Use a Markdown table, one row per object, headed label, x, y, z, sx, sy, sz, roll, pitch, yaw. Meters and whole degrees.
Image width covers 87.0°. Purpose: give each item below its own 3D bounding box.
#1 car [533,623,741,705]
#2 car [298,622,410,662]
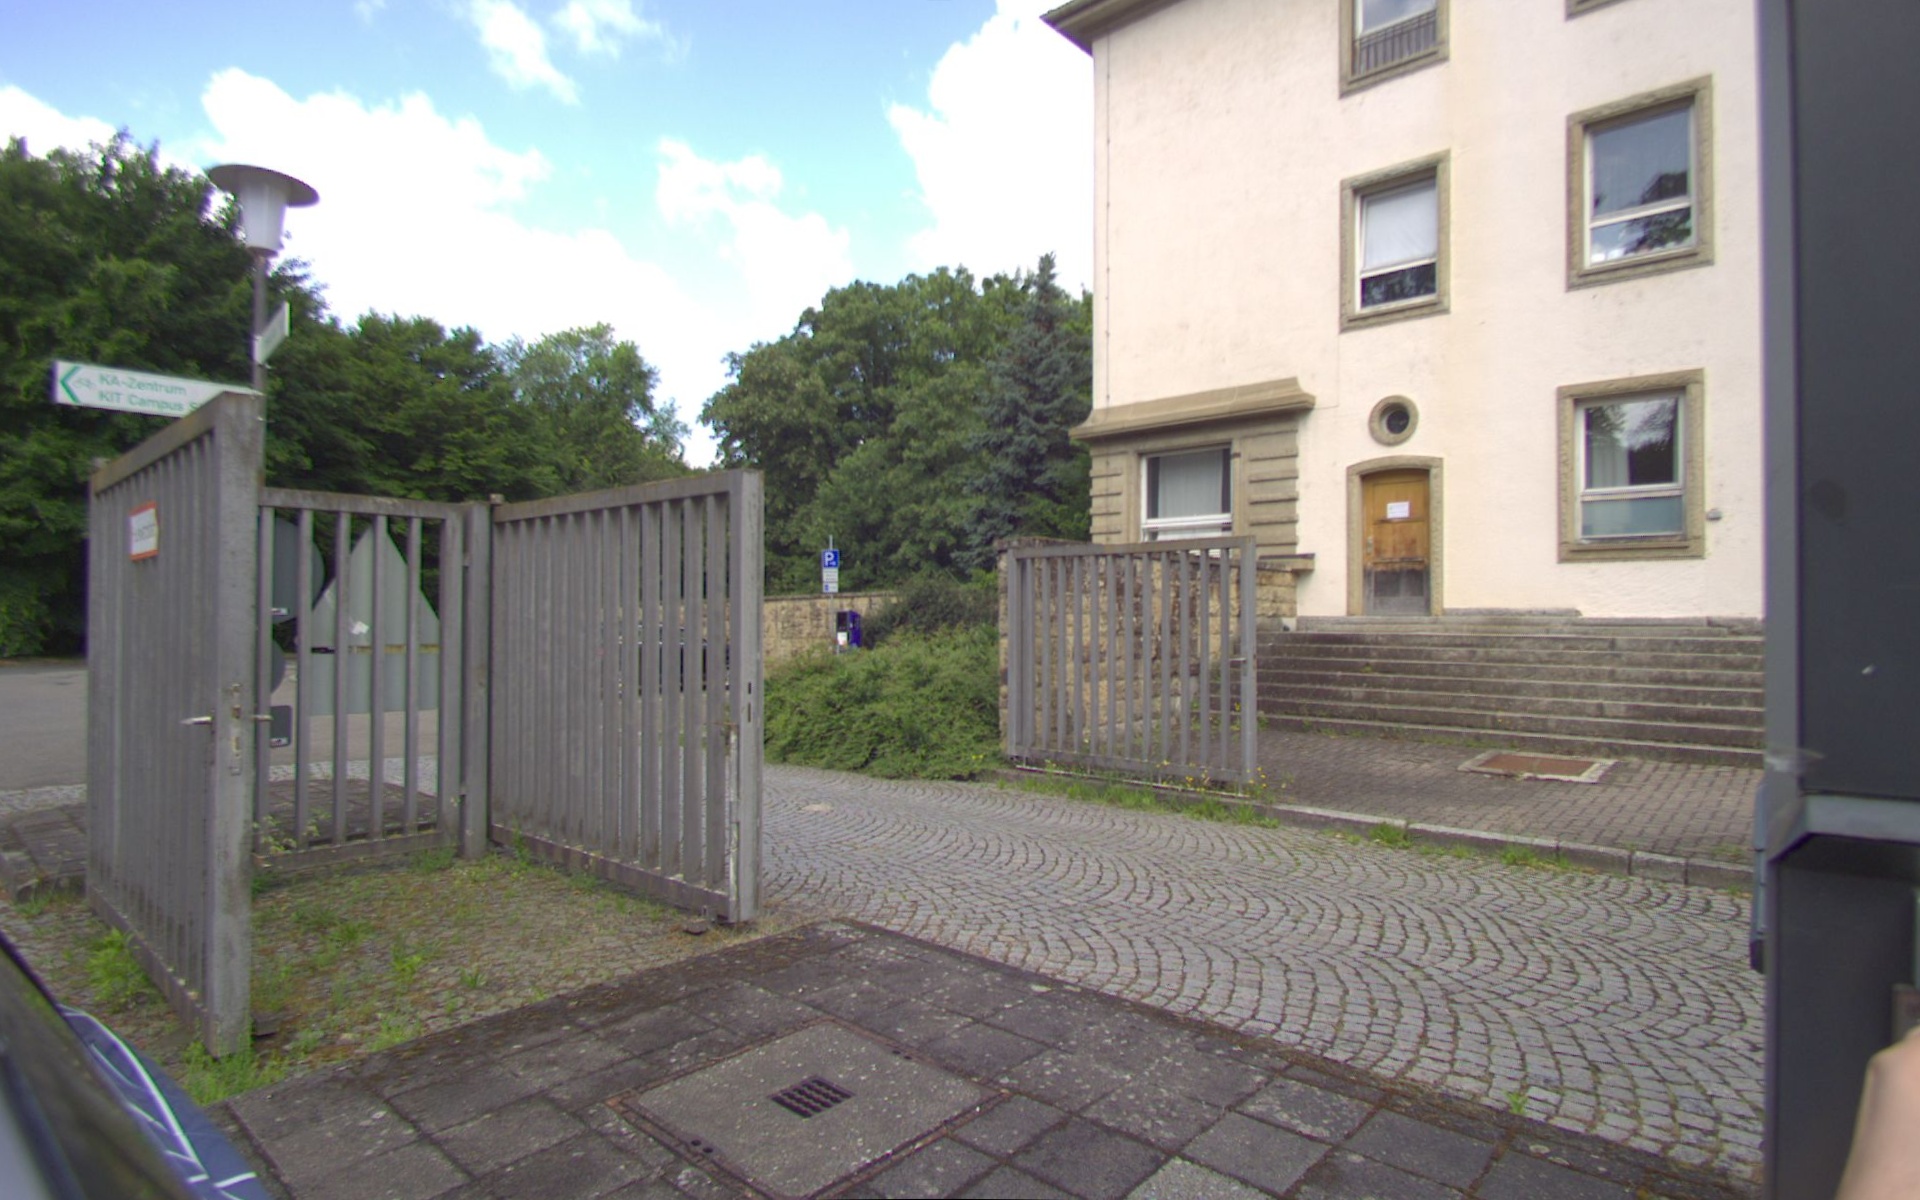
| label | x | y | z | sx | sy | sz | roll | pitch | yaw |
| --- | --- | --- | --- | --- | --- | --- | --- | --- | --- |
| car | -7.073 | 1.336 | 22.407 | 1.900 | 1.558 | 3.942 | -2 | -1 | 44 |
| car | -26.946 | 1.848 | 45.153 | 1.983 | 1.697 | 3.977 | -1 | -2 | 17 |
